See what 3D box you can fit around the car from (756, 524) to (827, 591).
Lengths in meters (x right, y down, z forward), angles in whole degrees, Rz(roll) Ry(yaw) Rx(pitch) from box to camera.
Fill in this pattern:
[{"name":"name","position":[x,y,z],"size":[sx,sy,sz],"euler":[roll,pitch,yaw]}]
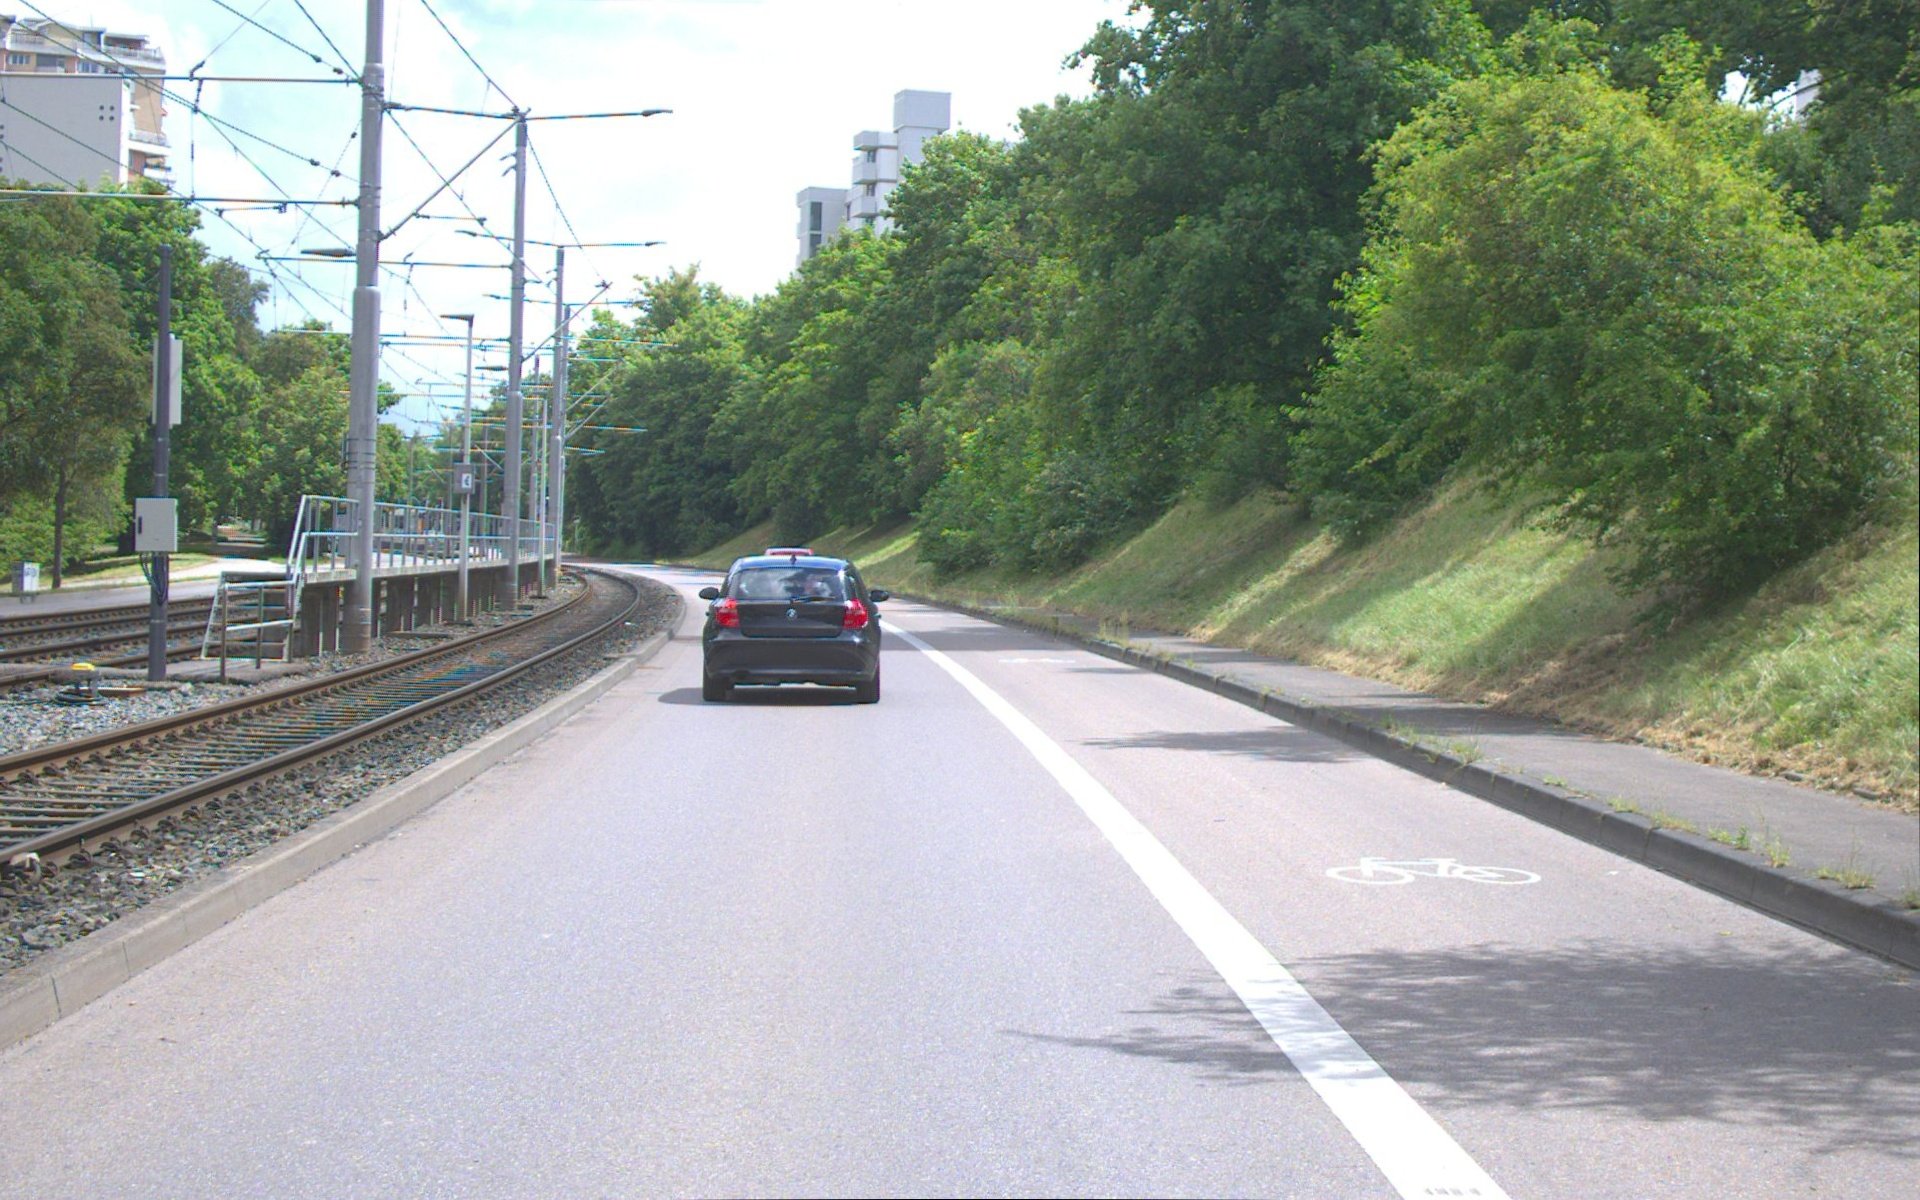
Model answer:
[{"name":"car","position":[-4.136,-1.055,83.991],"size":[1.624,1.438,3.422],"euler":[2,3,-4]}]

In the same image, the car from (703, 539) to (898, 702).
[{"name":"car","position":[-1.537,0.185,34.343],"size":[1.708,1.455,3.960],"euler":[3,0,0]}]
